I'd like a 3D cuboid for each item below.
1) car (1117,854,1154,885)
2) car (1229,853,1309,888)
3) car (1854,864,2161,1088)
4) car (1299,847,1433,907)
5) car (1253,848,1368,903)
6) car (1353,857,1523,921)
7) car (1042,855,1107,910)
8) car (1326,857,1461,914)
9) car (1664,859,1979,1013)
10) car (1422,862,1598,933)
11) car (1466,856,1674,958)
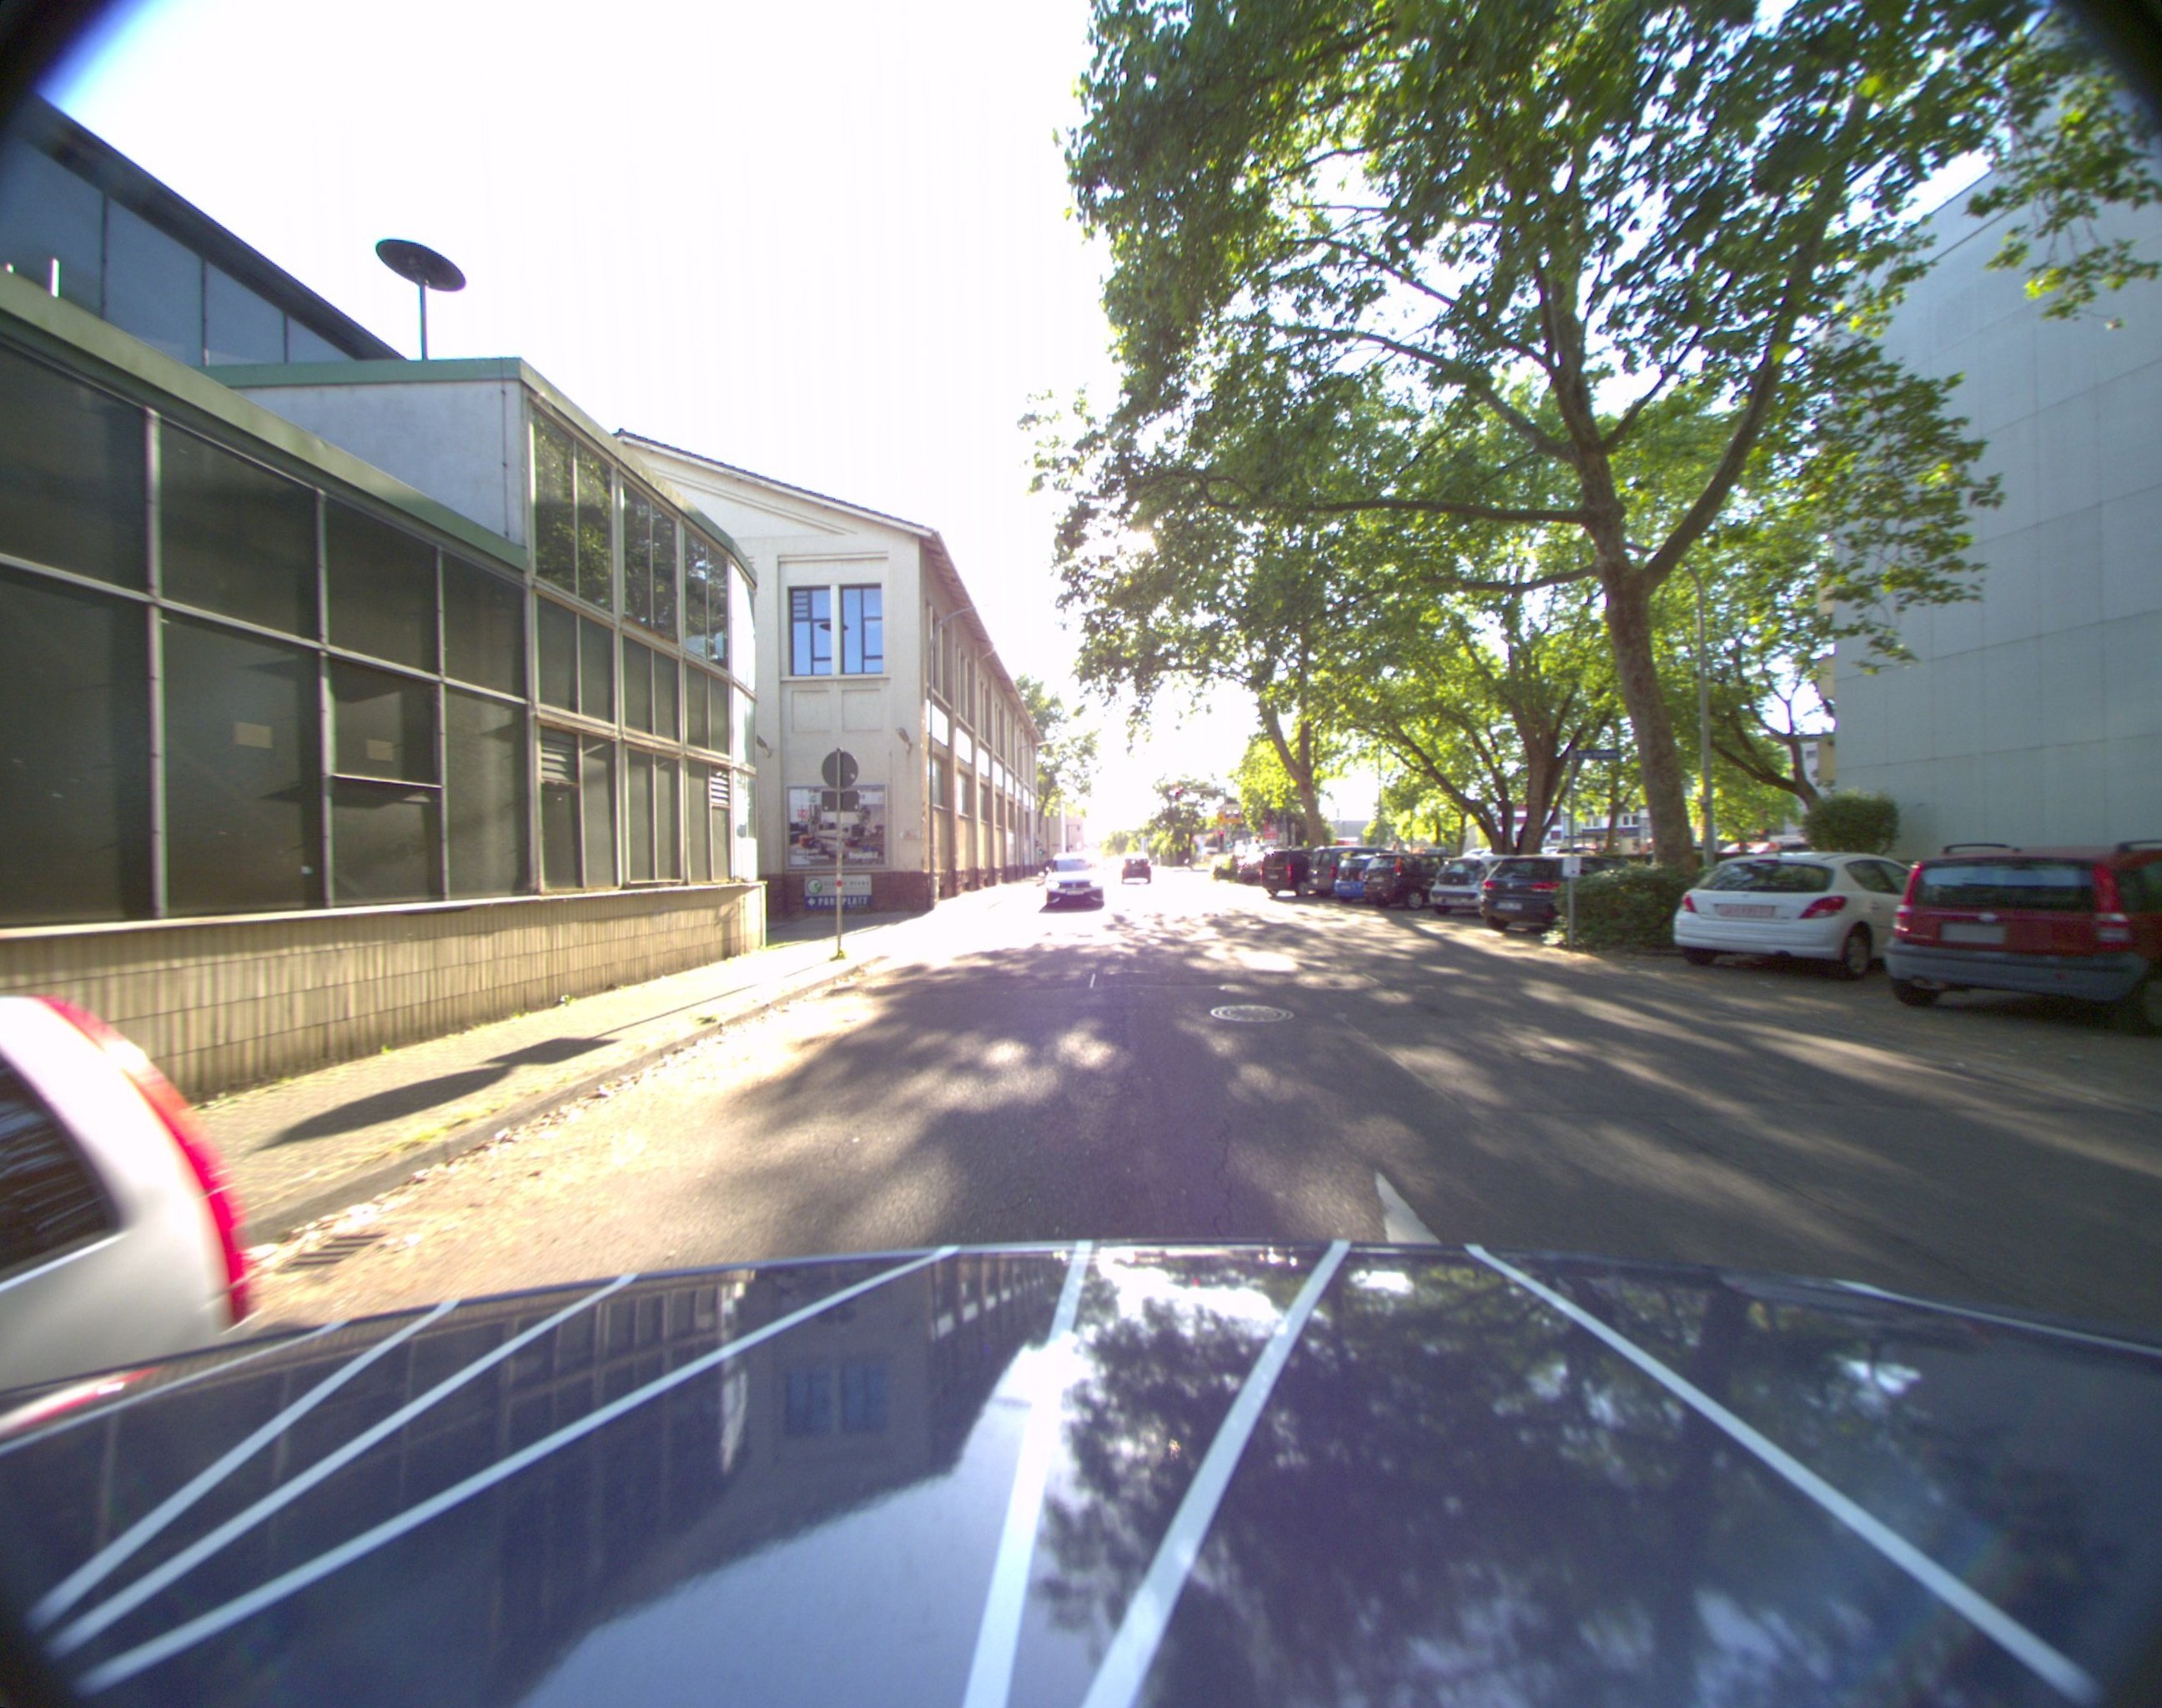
[{"bbox_3d":[3.148,0.860,44.349,1.964,1.633,4.000,-2,1,2],"label":"car"},{"bbox_3d":[9.873,0.856,39.793,4.006,1.633,1.713,-2,1,-32],"label":"car"},{"bbox_3d":[9.467,0.948,7.058,3.652,1.551,1.648,-2,1,-16],"label":"car"},{"bbox_3d":[9.848,0.755,26.350,4.002,1.871,1.831,-2,1,-14],"label":"car"},{"bbox_3d":[8.757,0.773,28.935,4.004,1.875,1.714,-2,1,-24],"label":"car"},{"bbox_3d":[9.887,0.917,21.154,4.001,1.615,1.796,-1,1,-12],"label":"car"},{"bbox_3d":[-0.210,0.854,24.530,1.854,1.527,3.856,-3,0,0],"label":"car"},{"bbox_3d":[9.637,0.936,23.506,3.602,1.551,1.648,-2,1,-16],"label":"car"},{"bbox_3d":[9.547,0.899,9.795,3.654,1.551,1.706,-2,1,-25],"label":"car"},{"bbox_3d":[10.390,0.985,18.452,3.653,1.453,1.703,-2,1,-19],"label":"car"},{"bbox_3d":[9.503,0.932,14.769,3.654,1.652,1.647,-2,1,-24],"label":"car"}]
